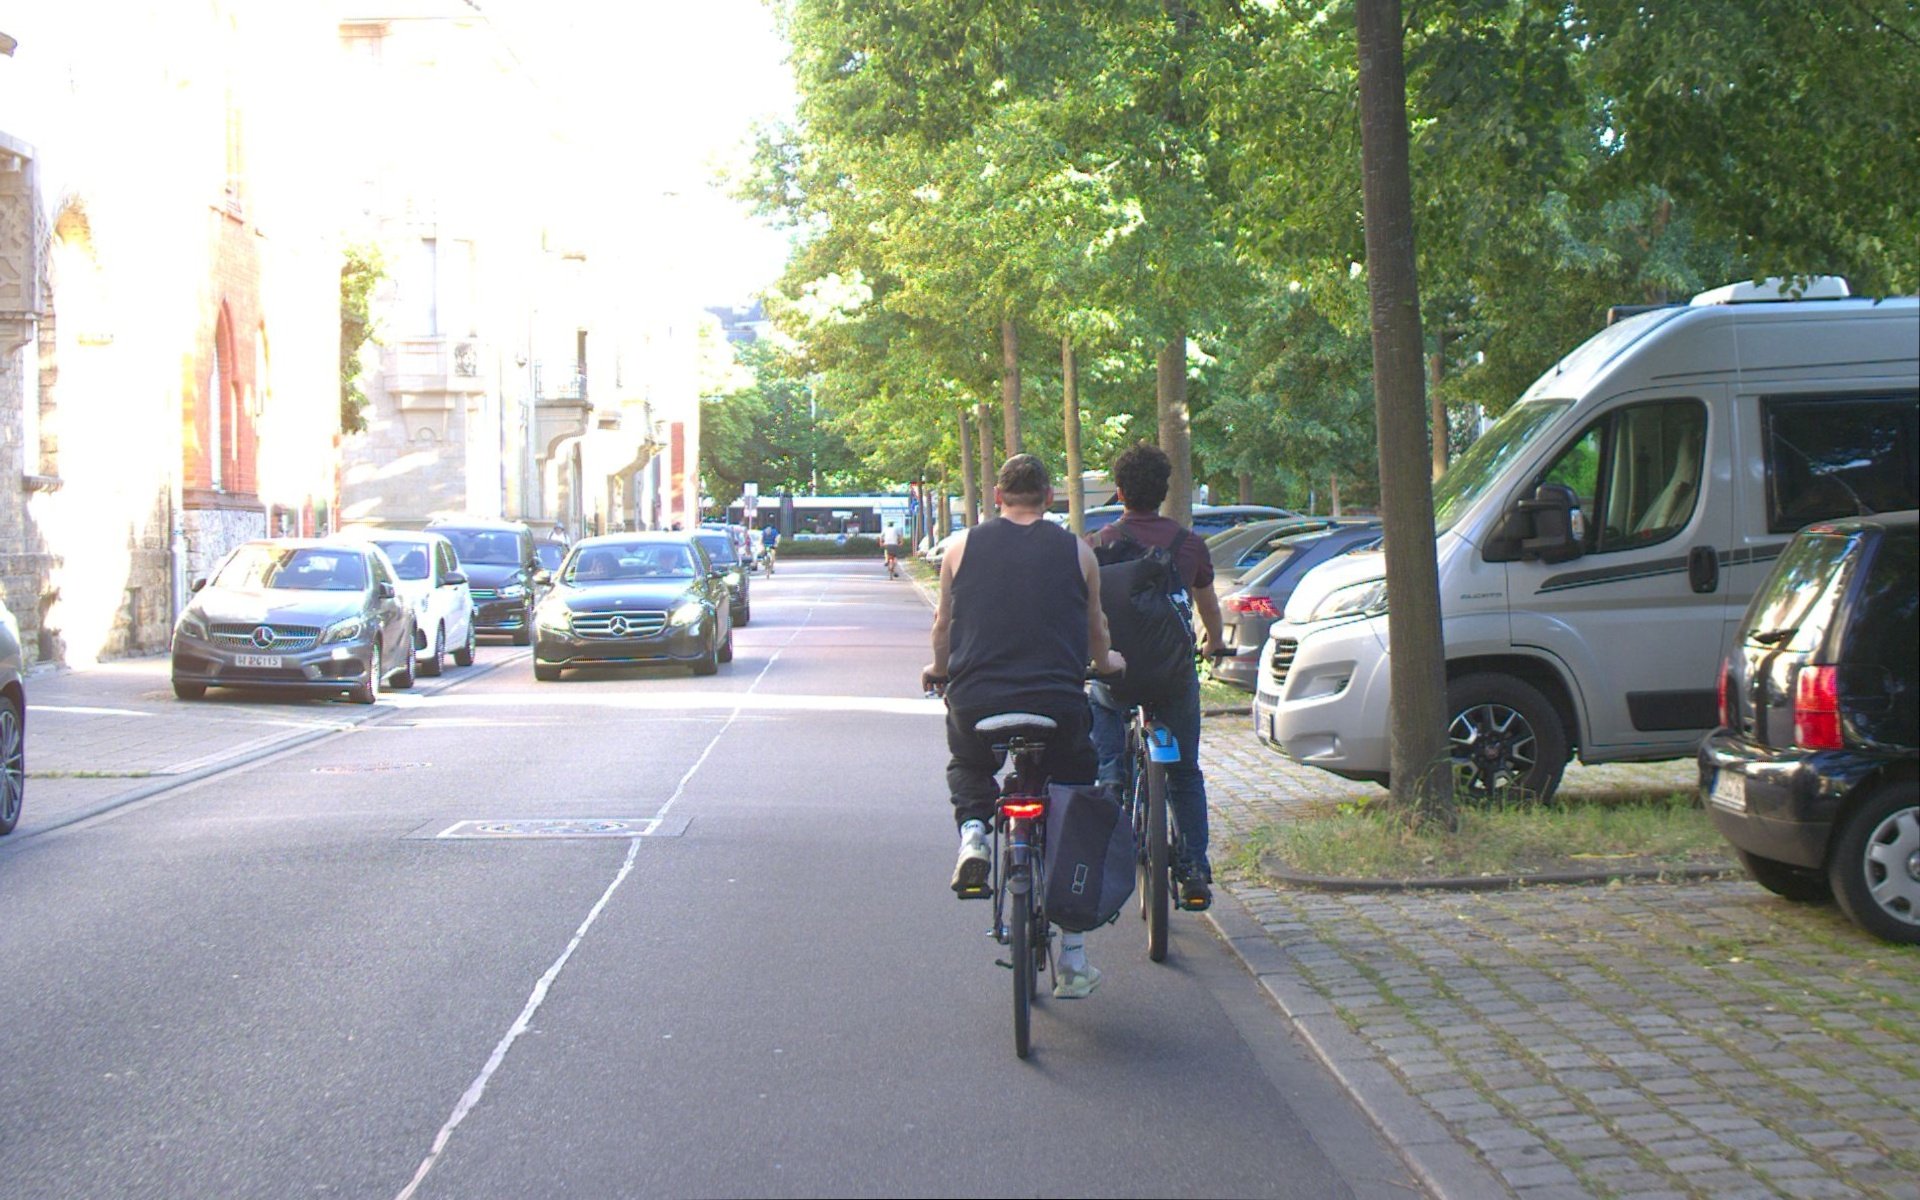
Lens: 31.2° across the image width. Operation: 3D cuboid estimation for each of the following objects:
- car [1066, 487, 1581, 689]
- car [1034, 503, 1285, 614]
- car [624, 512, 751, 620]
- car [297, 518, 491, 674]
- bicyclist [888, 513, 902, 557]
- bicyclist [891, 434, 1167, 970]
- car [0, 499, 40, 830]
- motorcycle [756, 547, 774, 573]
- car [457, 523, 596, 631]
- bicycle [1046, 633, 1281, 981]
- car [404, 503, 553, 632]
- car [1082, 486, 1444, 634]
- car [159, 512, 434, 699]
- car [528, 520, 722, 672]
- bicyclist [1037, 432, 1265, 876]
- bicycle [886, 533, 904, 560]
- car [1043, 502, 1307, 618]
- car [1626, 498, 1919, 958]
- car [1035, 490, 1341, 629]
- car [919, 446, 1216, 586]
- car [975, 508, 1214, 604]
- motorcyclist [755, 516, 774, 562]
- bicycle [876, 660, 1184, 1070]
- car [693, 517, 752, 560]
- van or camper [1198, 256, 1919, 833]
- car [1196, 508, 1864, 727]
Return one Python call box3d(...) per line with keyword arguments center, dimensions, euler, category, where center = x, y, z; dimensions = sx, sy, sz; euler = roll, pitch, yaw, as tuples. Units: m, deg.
box3d(center=(3.163, -0.110, 30.411), dimensions=(4.242, 1.600, 1.754), euler=(-2, 0, -4), category="car")
box3d(center=(3.471, -0.717, 60.306), dimensions=(4.243, 1.791, 1.855), euler=(-2, 0, 0), category="car")
box3d(center=(-4.374, -0.562, 55.623), dimensions=(1.767, 1.594, 4.090), euler=(-3, 1, -1), category="car")
box3d(center=(-6.067, -0.068, 37.172), dimensions=(1.491, 1.512, 3.775), euler=(3, 1, -2), category="car")
box3d(center=(-2.005, -1.985, 105.787), dimensions=(0.417, 1.346, 0.430), euler=(0, 0, -1), category="bicyclist")
box3d(center=(0.189, 0.285, 10.286), dimensions=(0.706, 1.521, 0.972), euler=(0, 0, -6), category="bicyclist")
box3d(center=(-5.635, 0.325, 15.452), dimensions=(2.049, 1.616, 4.396), euler=(0, 0, -3), category="car")
box3d(center=(-6.188, -1.258, 109.133), dimensions=(0.551, 0.798, 1.308), euler=(-1, 1, -4), category="motorcycle")
box3d(center=(-6.501, -0.359, 51.917), dimensions=(1.615, 1.477, 4.019), euler=(3, 1, -2), category="car")
box3d(center=(0.689, 0.683, 12.181), dimensions=(0.555, 1.069, 1.969), euler=(0, 1, -5), category="bicycle")
box3d(center=(-6.466, -0.424, 46.490), dimensions=(1.630, 1.660, 3.969), euler=(0, 0, -3), category="car")
box3d(center=(3.678, -0.487, 42.300), dimensions=(4.243, 1.642, 1.855), euler=(-2, 0, 0), category="car")
box3d(center=(-6.037, 0.025, 31.709), dimensions=(1.755, 1.512, 4.115), euler=(3, 1, -2), category="car")
box3d(center=(-3.469, -0.050, 36.101), dimensions=(1.896, 1.481, 4.382), euler=(0, 0, -4), category="car")
box3d(center=(0.669, 0.183, 12.295), dimensions=(0.718, 1.521, 0.972), euler=(0, 0, -2), category="bicyclist")
box3d(center=(-2.007, -1.640, 105.623), dimensions=(0.541, 0.825, 1.919), euler=(0, 0, -1), category="bicycle")
box3d(center=(3.555, -0.665, 57.495), dimensions=(4.243, 1.791, 1.855), euler=(-2, 0, 0), category="car")
box3d(center=(4.290, 0.366, 12.022), dimensions=(3.500, 1.467, 1.752), euler=(-2, 0, -2), category="car")
box3d(center=(3.258, -0.582, 49.703), dimensions=(4.243, 1.833, 1.855), euler=(-2, 0, 0), category="car")
box3d(center=(2.681, -2.099, 87.022), dimensions=(7.332, 3.271, 2.223), euler=(-2, 0, 0), category="car")
box3d(center=(2.715, -0.893, 70.320), dimensions=(4.757, 1.774, 1.855), euler=(-2, 0, 0), category="car")
box3d(center=(-6.188, -1.921, 108.880), dimensions=(0.551, 1.443, 0.688), euler=(-1, 1, -4), category="motorcyclist")
box3d(center=(0.169, 0.738, 10.361), dimensions=(0.696, 1.069, 1.969), euler=(0, 0, -6), category="bicycle")
box3d(center=(-8.755, -2.261, 126.978), dimensions=(1.993, 1.525, 4.000), euler=(0, 0, -1), category="car")
box3d(center=(4.151, -0.328, 17.106), dimensions=(5.573, 2.528, 2.269), euler=(-3, 0, -3), category="van or camper")
box3d(center=(4.029, 0.114, 24.825), dimensions=(4.502, 1.448, 1.816), euler=(-1, 0, 0), category="car")
